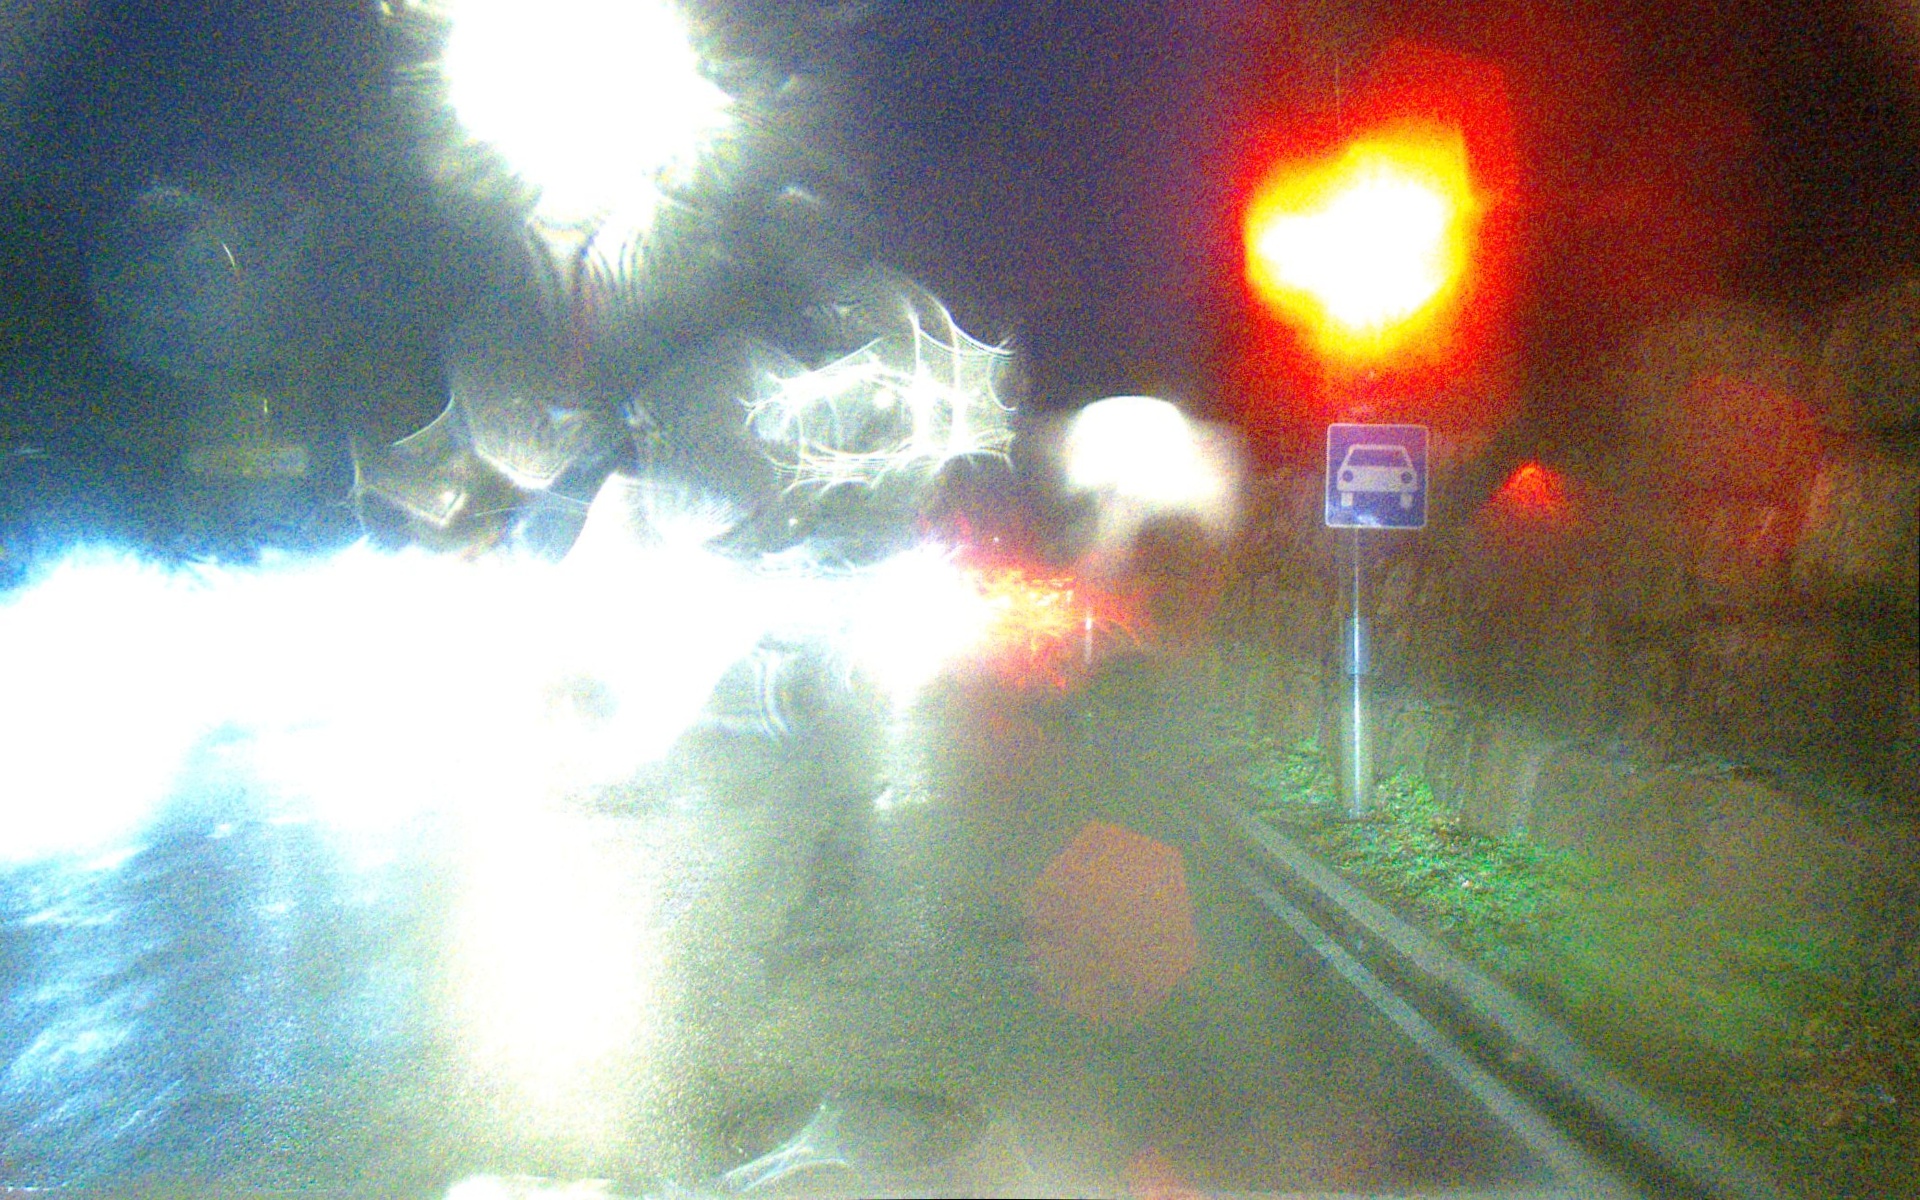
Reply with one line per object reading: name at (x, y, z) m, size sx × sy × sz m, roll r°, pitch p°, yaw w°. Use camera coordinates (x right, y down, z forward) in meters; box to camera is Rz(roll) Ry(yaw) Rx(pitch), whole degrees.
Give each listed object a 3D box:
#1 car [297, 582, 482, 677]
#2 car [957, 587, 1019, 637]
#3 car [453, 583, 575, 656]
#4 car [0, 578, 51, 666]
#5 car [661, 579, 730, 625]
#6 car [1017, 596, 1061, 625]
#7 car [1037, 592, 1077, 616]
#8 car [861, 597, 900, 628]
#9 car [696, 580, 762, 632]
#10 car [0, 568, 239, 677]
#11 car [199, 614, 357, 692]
car at (-10.246, 0.486, 30.070) m, size 1.664 × 1.599 × 4.712 m, roll 0°, pitch 0°, yaw 1°
car at (0.913, 0.420, 55.988) m, size 1.953 × 1.639 × 4.102 m, roll 0°, pitch -1°, yaw -1°
car at (-9.938, 0.429, 37.105) m, size 1.552 × 1.552 × 3.653 m, roll 0°, pitch -1°, yaw 3°
car at (-21.610, 0.482, 35.030) m, size 3.958 × 1.863 × 1.699 m, roll -1°, pitch 1°, yaw -38°
car at (-10.388, 0.111, 65.234) m, size 1.952 × 1.750 × 4.001 m, roll 0°, pitch -1°, yaw 2°
car at (4.080, 0.536, 85.915) m, size 2.060 × 1.464 × 3.999 m, roll 0°, pitch -1°, yaw -1°
car at (5.741, 0.270, 98.411) m, size 2.064 × 1.363 × 4.293 m, roll 0°, pitch -1°, yaw -1°
car at (-3.991, 0.648, 83.789) m, size 1.672 × 1.561 × 4.600 m, roll 0°, pitch -1°, yaw 1°
car at (-8.013, 0.212, 57.669) m, size 1.682 × 1.733 × 4.143 m, roll 0°, pitch -1°, yaw 1°
car at (-13.637, 0.329, 26.830) m, size 1.755 × 1.599 × 4.913 m, roll 0°, pitch 0°, yaw -1°
car at (-13.690, 1.038, 33.410) m, size 1.634 × 1.479 × 3.727 m, roll 0°, pitch -1°, yaw 0°
